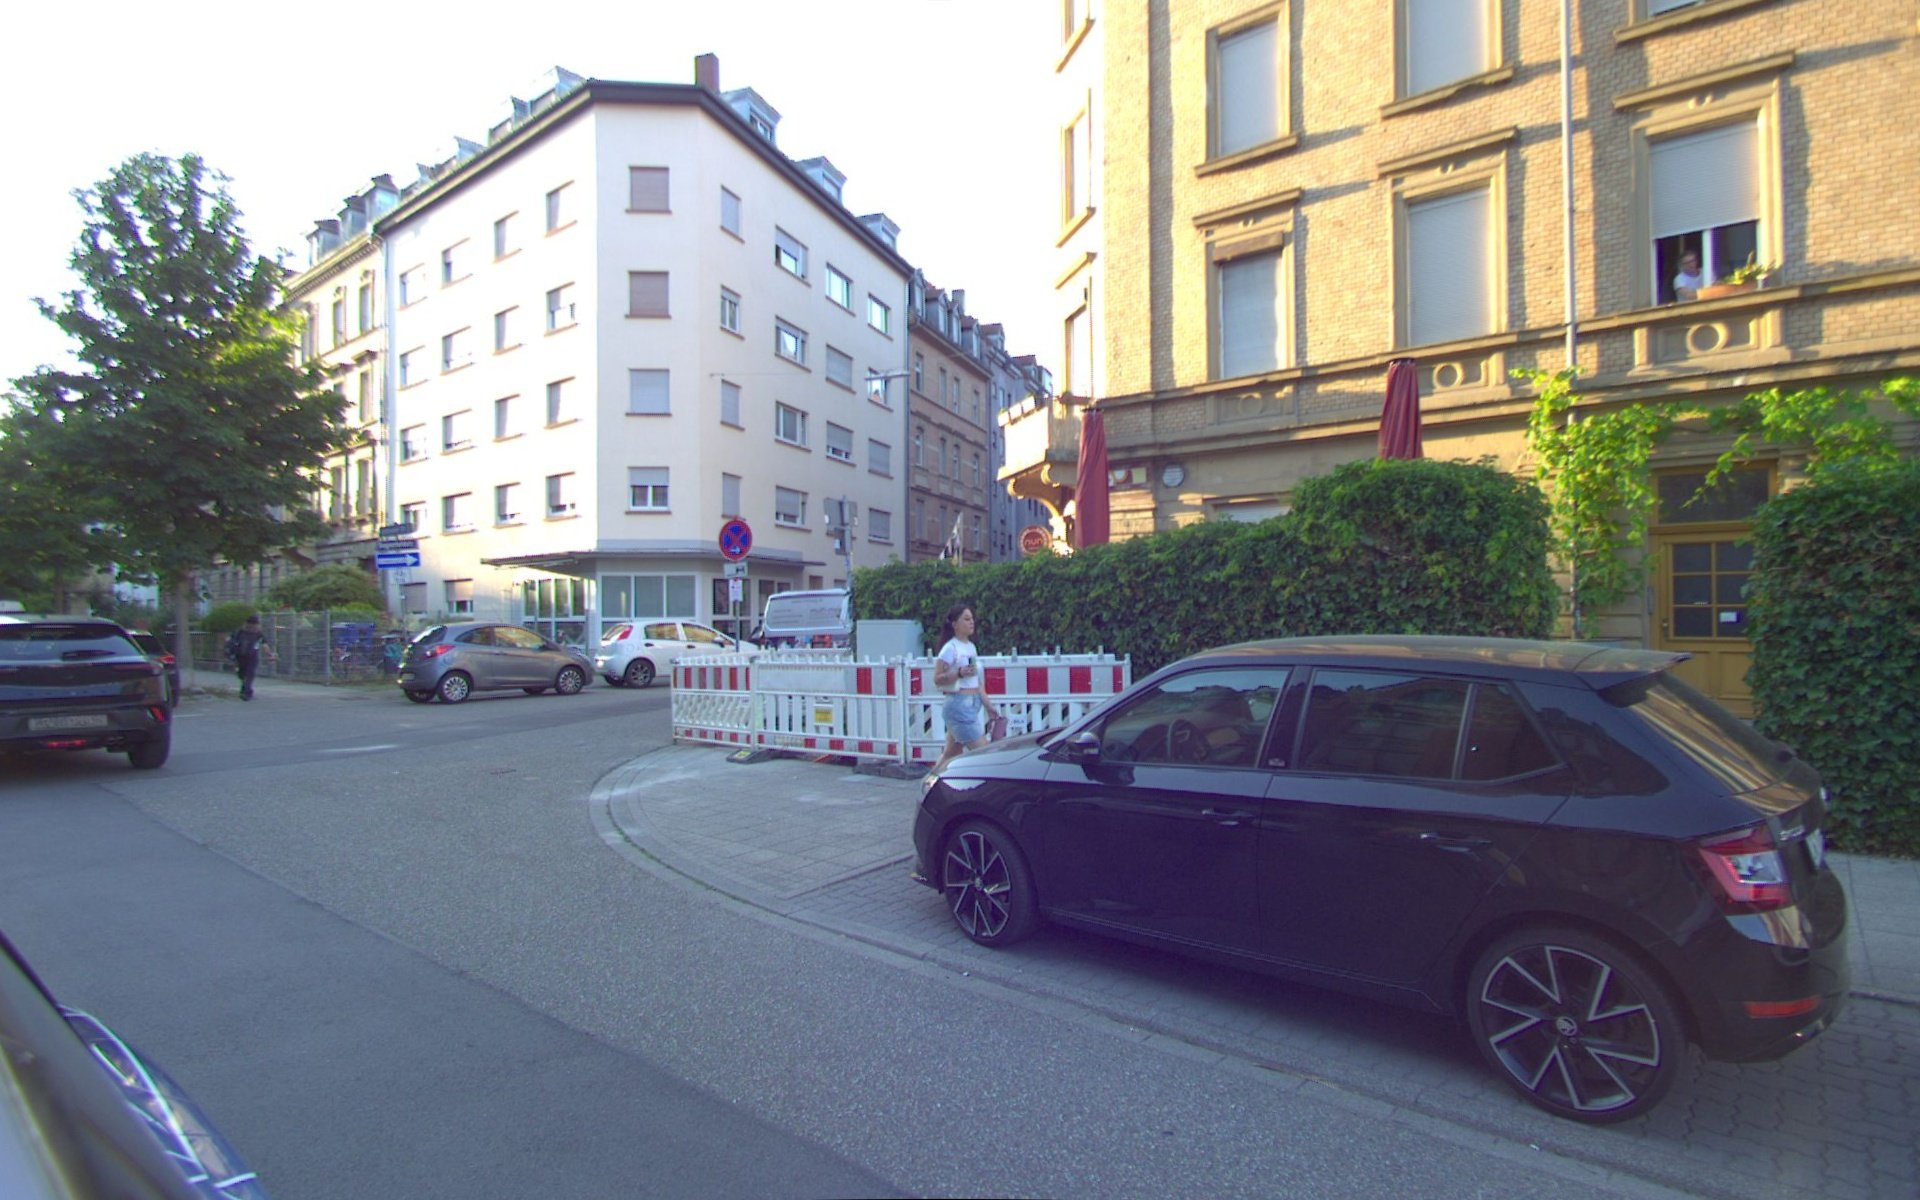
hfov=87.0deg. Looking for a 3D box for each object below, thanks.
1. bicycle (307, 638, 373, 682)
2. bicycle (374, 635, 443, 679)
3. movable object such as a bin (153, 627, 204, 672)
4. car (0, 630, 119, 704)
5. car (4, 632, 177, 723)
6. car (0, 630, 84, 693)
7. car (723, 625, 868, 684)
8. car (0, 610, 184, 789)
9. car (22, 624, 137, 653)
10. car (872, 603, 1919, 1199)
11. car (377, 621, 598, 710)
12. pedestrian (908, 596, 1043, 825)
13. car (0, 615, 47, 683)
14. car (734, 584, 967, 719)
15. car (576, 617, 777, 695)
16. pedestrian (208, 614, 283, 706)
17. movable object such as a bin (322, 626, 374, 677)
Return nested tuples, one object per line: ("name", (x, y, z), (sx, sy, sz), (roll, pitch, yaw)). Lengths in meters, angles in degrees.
("bicycle", (-15.549, 1.497, 25.379), (1.927, 1.033, 0.681), (-1, 0, 35))
("bicycle", (-14.489, 1.501, 26.595), (1.528, 1.100, 0.500), (-1, 0, 3))
("movable object such as a bin", (-25.736, 1.614, 33.332), (1.549, 1.398, 0.937), (-2, 0, 37))
("car", (-19.862, 1.388, 22.144), (4.142, 1.431, 1.723), (-1, -1, 43))
("car", (-16.296, 1.353, 18.891), (4.458, 1.472, 1.658), (-1, -1, 39))
("car", (-23.781, 1.490, 25.488), (4.586, 1.423, 1.843), (-1, -1, 39))
("car", (-4.310, 1.413, 27.194), (1.986, 1.450, 4.047), (-2, -2, 23))
("car", (-9.588, 0.895, 10.232), (3.994, 1.529, 1.763), (-1, -2, 38))
("car", (-45.965, 2.005, 52.917), (1.625, 1.351, 4.356), (-1, -1, 41))
("car", (1.563, 0.821, 4.488), (3.842, 1.546, 1.686), (-1, -1, 41))
("car", (-9.147, 1.209, 19.771), (1.843, 1.519, 3.471), (-3, -2, 39))
("pedestrian", (0.127, 0.794, 7.696), (0.782, 1.630, 0.706), (-1, 0, 24))
("car", (-27.598, 1.369, 28.729), (4.618, 1.792, 1.843), (-1, -1, 39))
("car", (-1.683, 0.837, 17.789), (2.190, 1.990, 5.265), (-1, -2, 17))
("car", (-6.516, 1.225, 23.396), (4.007, 1.520, 1.978), (-1, 0, -38))
("pedestrian", (-14.151, 1.164, 20.077), (0.877, 1.735, 0.961), (-1, 0, -11))
("movable object such as a bin", (-16.971, 1.409, 28.052), (1.398, 1.362, 0.857), (-2, 0, 42))
